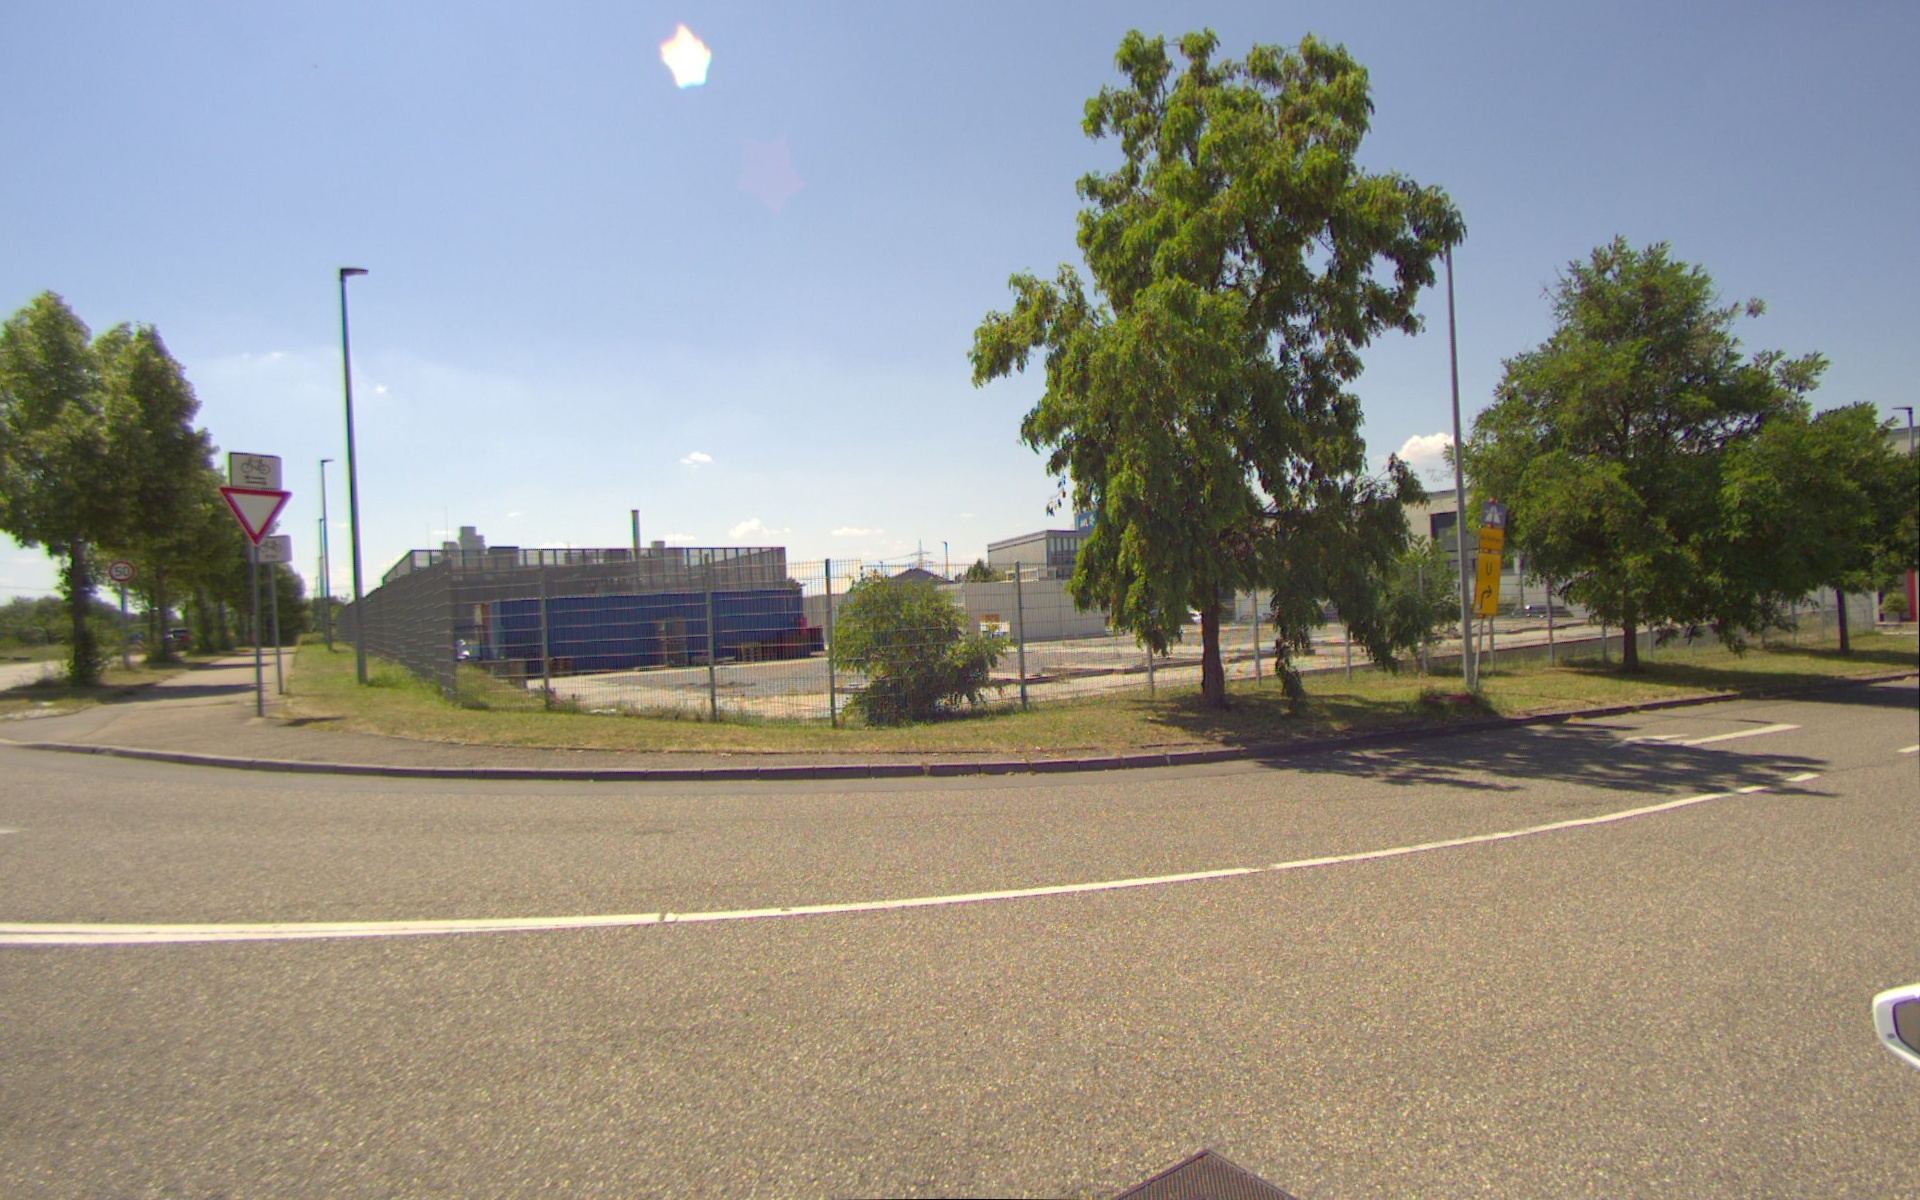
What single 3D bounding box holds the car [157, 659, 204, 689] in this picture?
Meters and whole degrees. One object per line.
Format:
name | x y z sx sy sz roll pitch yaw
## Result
car | -50.395 4.776 64.982 1.849 1.656 4.560 -4 0 -32
